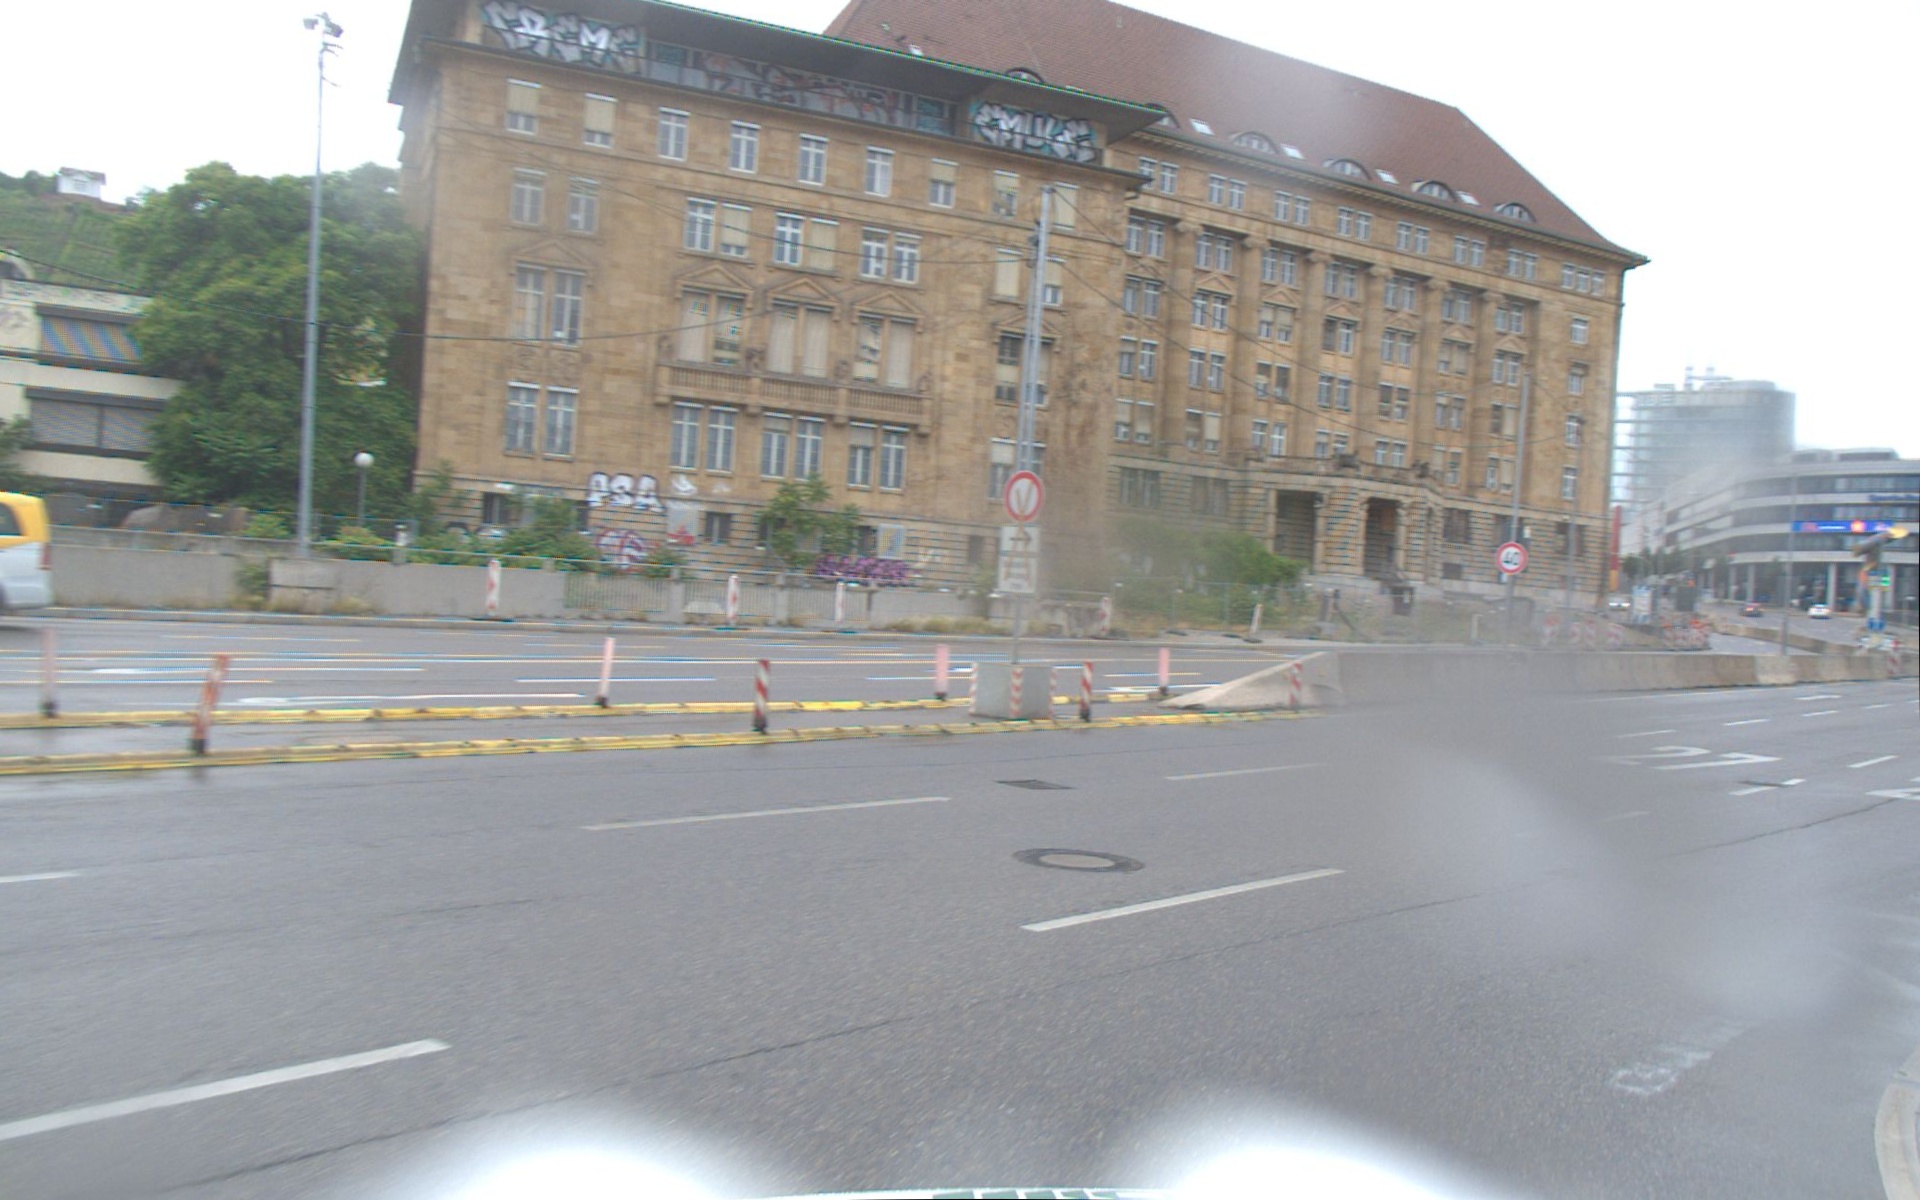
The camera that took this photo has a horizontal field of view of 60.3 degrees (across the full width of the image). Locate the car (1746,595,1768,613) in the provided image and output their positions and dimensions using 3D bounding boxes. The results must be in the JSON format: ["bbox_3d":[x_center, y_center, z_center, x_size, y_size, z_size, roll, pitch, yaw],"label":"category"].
[{"bbox_3d":[87.388,0.462,181.357,1.954,1.835,4.263,4,2,24],"label":"car"}]

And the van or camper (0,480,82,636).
[{"bbox_3d":[-15.030,-0.714,21.852,2.207,2.090,5.574,5,1,41],"label":"van or camper"}]

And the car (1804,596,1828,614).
[{"bbox_3d":[93.802,0.507,181.269,1.954,1.835,4.263,4,2,24],"label":"car"}]

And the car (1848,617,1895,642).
[{"bbox_3d":[61.939,1.981,112.458,1.704,1.532,3.757,4,1,12],"label":"car"}]
